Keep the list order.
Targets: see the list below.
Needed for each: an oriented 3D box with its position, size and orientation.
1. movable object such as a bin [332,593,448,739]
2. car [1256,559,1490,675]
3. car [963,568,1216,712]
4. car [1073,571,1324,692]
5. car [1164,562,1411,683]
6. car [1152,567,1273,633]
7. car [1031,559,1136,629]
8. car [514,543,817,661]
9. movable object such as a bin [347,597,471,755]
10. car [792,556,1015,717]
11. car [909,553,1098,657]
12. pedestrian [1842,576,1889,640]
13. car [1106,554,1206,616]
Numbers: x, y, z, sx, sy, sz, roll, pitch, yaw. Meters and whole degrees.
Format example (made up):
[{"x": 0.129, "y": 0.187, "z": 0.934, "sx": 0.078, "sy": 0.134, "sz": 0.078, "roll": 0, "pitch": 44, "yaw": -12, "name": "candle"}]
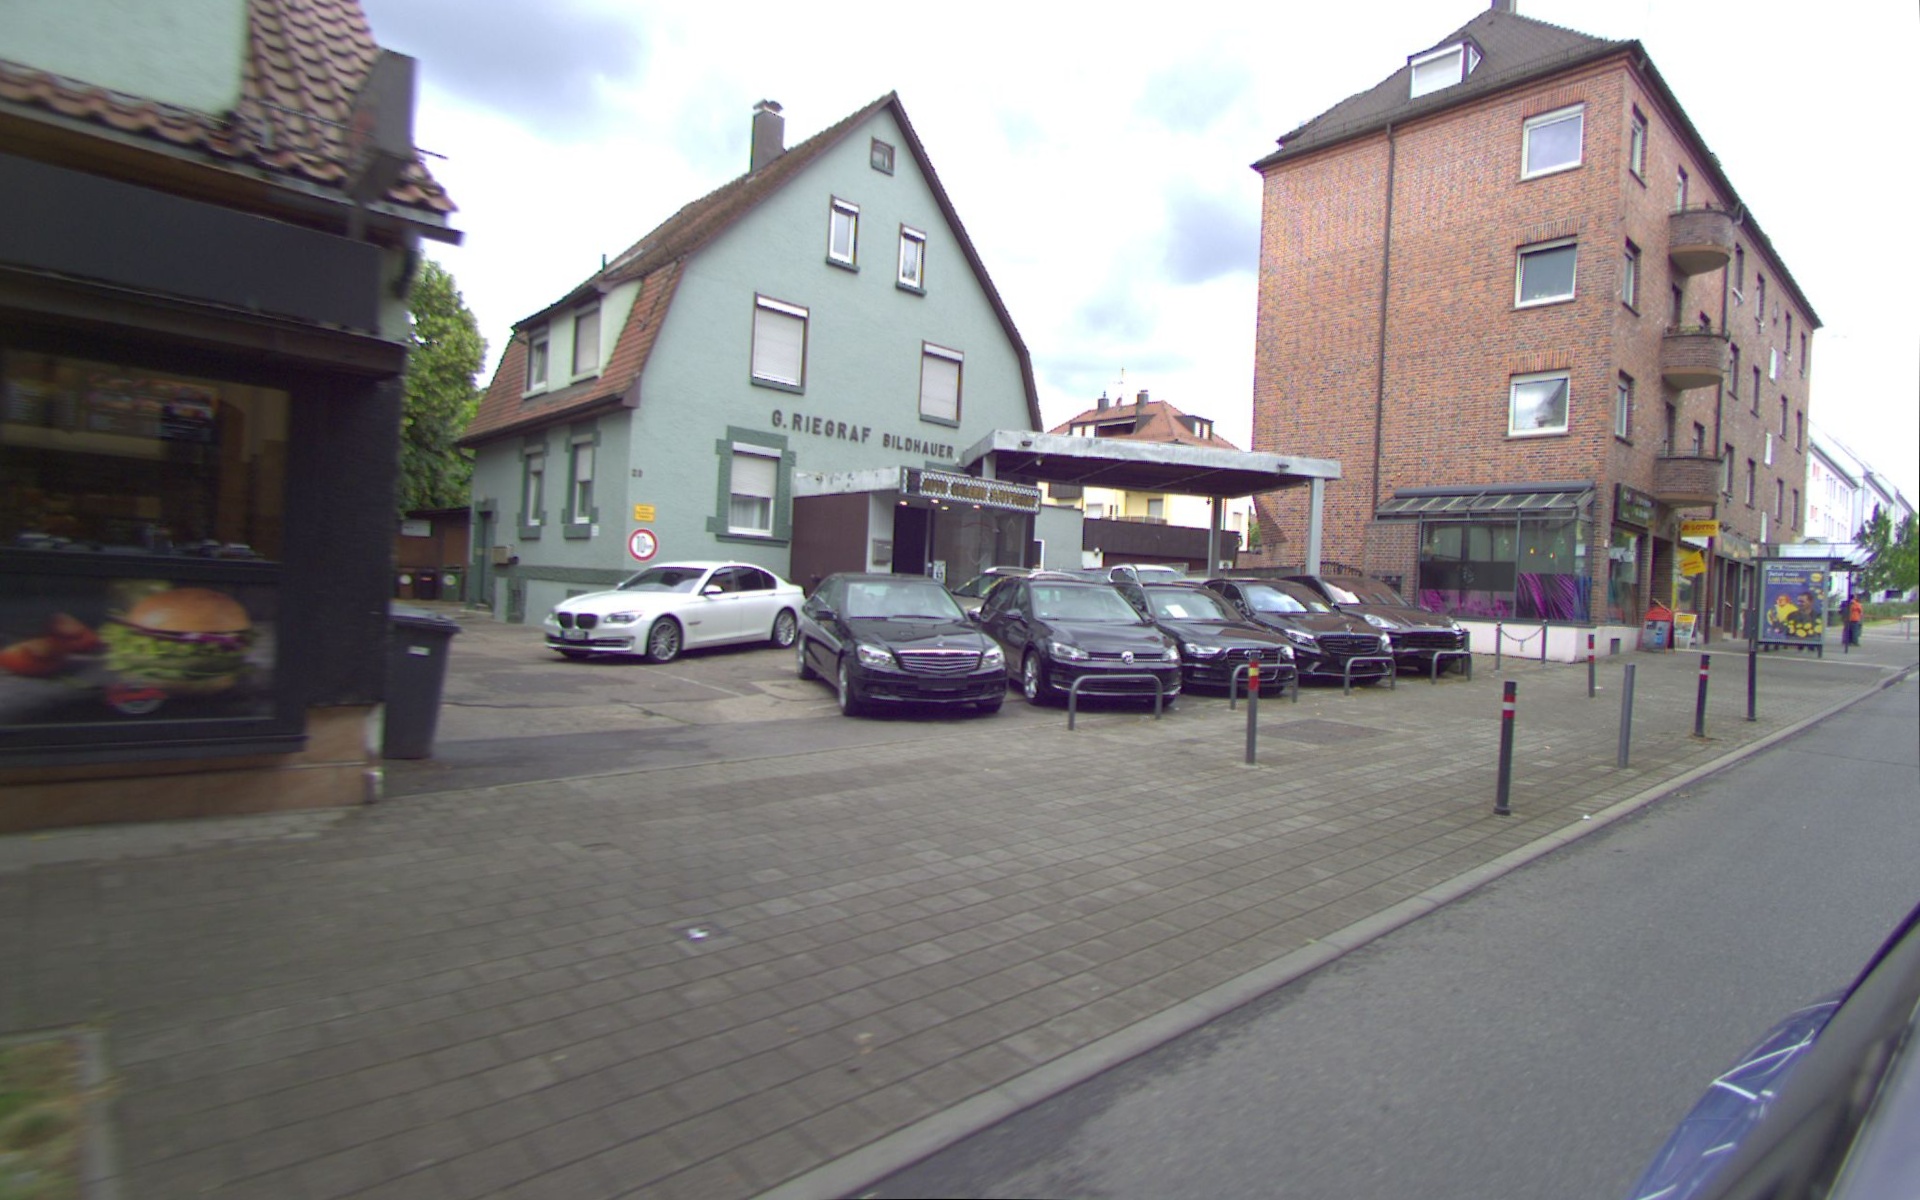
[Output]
[{"x": -4.443, "y": 0.486, "z": 7.892, "sx": 0.673, "sy": 1.051, "sz": 0.555, "roll": -1, "pitch": 3, "yaw": -45, "name": "movable object such as a bin"}, {"x": 7.204, "y": 0.236, "z": 18.146, "sx": 1.911, "sy": 1.820, "sz": 3.945, "roll": -1, "pitch": 1, "yaw": -14, "name": "car"}, {"x": 1.396, "y": 0.368, "z": 12.671, "sx": 1.761, "sy": 1.502, "sz": 4.054, "roll": 1, "pitch": 1, "yaw": -14, "name": "car"}, {"x": 3.251, "y": 0.343, "z": 14.707, "sx": 1.732, "sy": 1.483, "sz": 4.114, "roll": 1, "pitch": 1, "yaw": -16, "name": "car"}, {"x": 5.091, "y": 0.285, "z": 16.361, "sx": 1.884, "sy": 1.694, "sz": 4.008, "roll": -1, "pitch": 1, "yaw": -16, "name": "car"}, {"x": 5.654, "y": -0.026, "z": 23.032, "sx": 1.438, "sy": 1.380, "sz": 3.174, "roll": -1, "pitch": 1, "yaw": -11, "name": "car"}, {"x": 2.997, "y": -0.150, "z": 25.246, "sx": 1.522, "sy": 1.608, "sz": 3.632, "roll": 1, "pitch": 0, "yaw": -11, "name": "car"}, {"x": -4.450, "y": -0.030, "z": 16.188, "sx": 1.962, "sy": 1.565, "sz": 4.827, "roll": 2, "pitch": 2, "yaw": 25, "name": "car"}, {"x": -4.014, "y": 0.522, "z": 7.377, "sx": 0.673, "sy": 1.051, "sz": 0.555, "roll": -1, "pitch": 3, "yaw": -45, "name": "movable object such as a bin"}, {"x": -0.837, "y": 0.275, "z": 11.713, "sx": 1.668, "sy": 1.468, "sz": 3.895, "roll": 1, "pitch": 3, "yaw": -17, "name": "car"}, {"x": 0.856, "y": 0.024, "z": 17.745, "sx": 1.683, "sy": 1.621, "sz": 3.582, "roll": 2, "pitch": 2, "yaw": 34, "name": "car"}, {"x": 28.988, "y": 0.246, "z": 32.394, "sx": 0.839, "sy": 2.039, "sz": 0.789, "roll": 1, "pitch": 0, "yaw": -21, "name": "pedestrian"}, {"x": 5.250, "y": -0.409, "z": 27.462, "sx": 1.528, "sy": 1.589, "sz": 3.284, "roll": -1, "pitch": 1, "yaw": -11, "name": "car"}]
